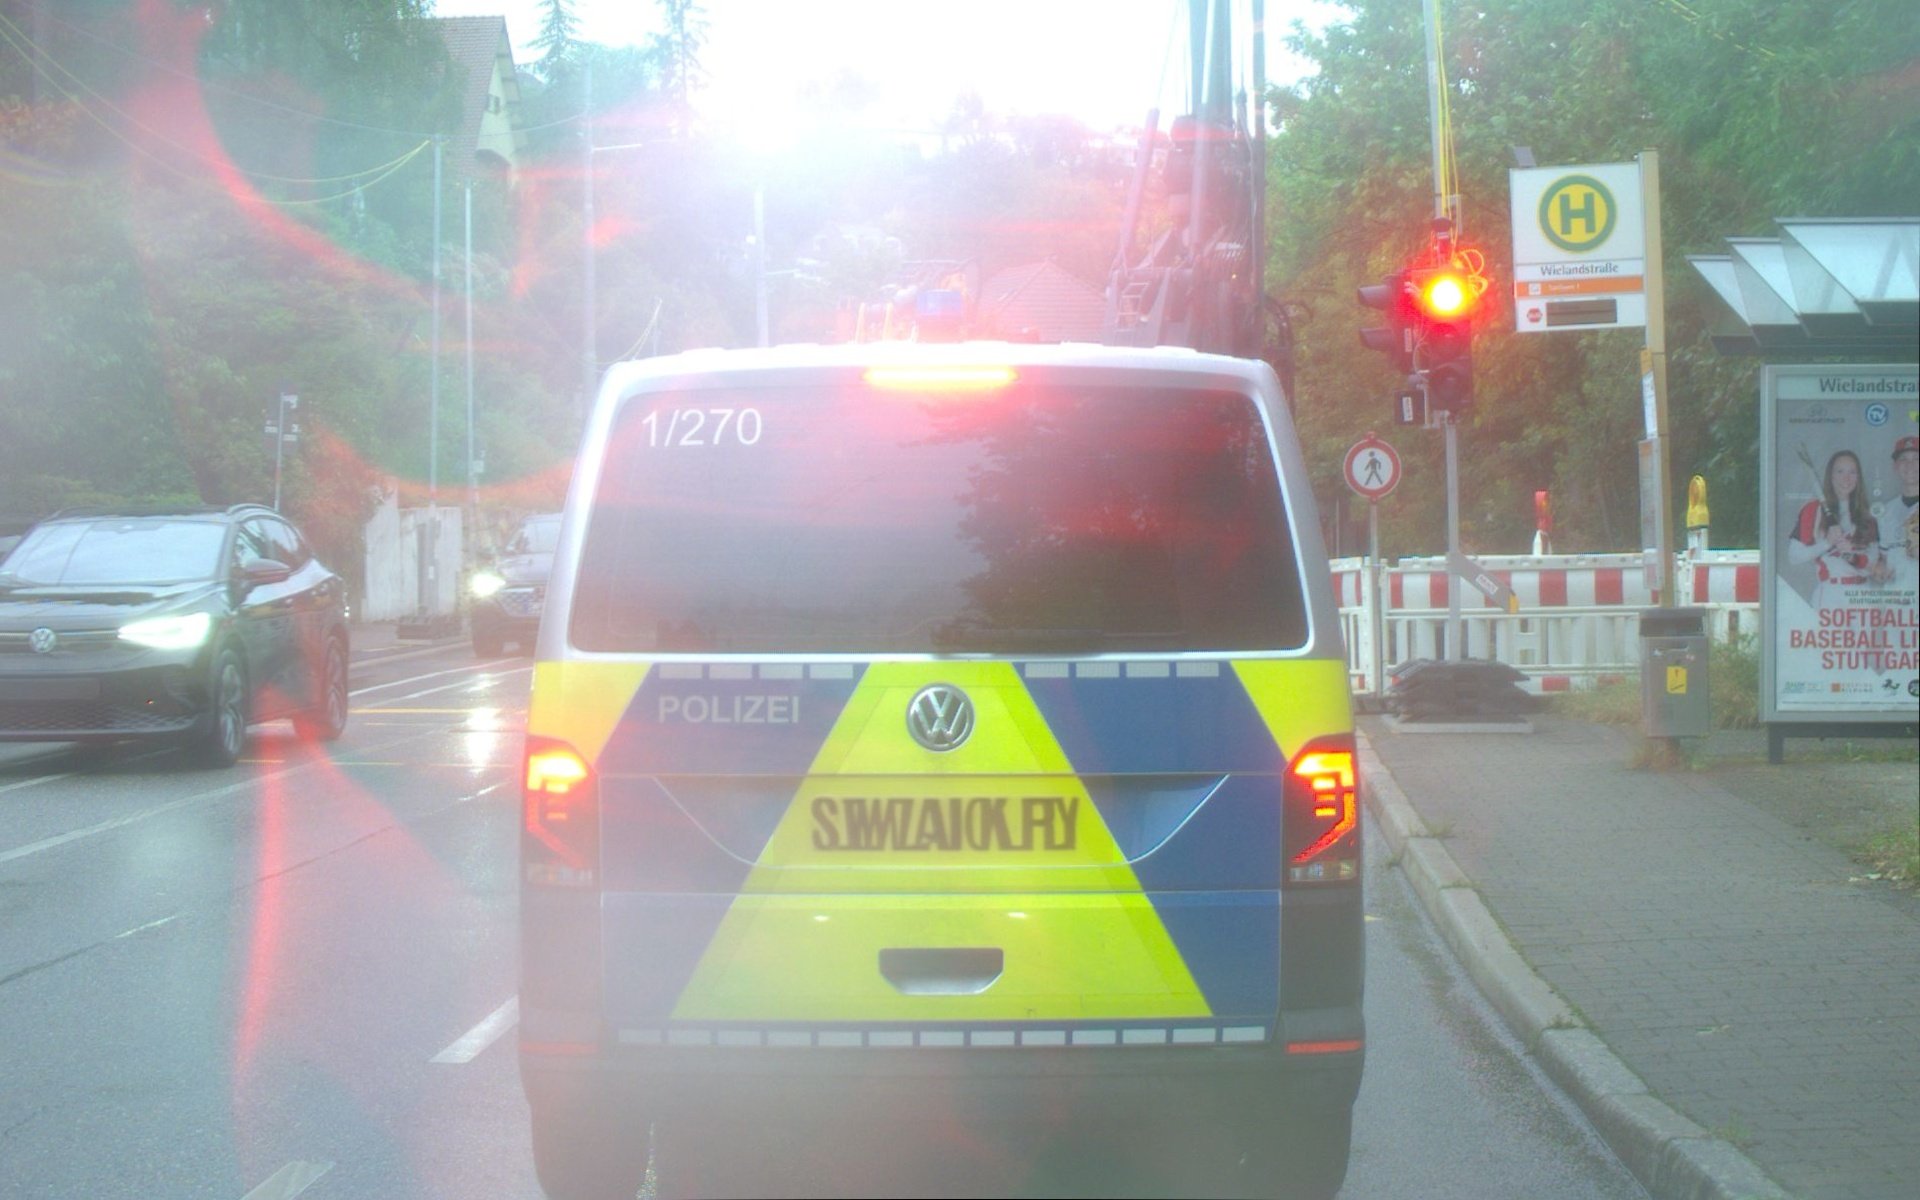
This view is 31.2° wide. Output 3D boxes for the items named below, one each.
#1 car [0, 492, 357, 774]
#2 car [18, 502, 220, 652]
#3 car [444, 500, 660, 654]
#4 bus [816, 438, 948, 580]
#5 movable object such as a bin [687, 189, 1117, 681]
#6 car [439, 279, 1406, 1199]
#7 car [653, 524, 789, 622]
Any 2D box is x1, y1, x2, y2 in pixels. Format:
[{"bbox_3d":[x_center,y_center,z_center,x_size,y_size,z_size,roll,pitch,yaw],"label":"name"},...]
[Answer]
[{"bbox_3d":[-5.225,0.163,21.974,1.867,1.616,4.164,-1,1,2],"label":"car"},{"bbox_3d":[-9.331,-0.282,37.972,1.765,1.481,3.743,1,3,-20],"label":"car"},{"bbox_3d":[-4.683,-0.288,40.099,1.993,1.668,4.688,1,1,-1],"label":"car"},{"bbox_3d":[-2.069,-2.510,96.236,2.841,3.705,12.005,1,1,3],"label":"bus"},{"bbox_3d":[-0.428,-1.461,31.629,2.832,4.163,4.378,1,1,15],"label":"movable object such as a bin"},{"bbox_3d":[-0.100,0.358,8.830,1.893,2.043,4.000,1,1,-1],"label":"car"},{"bbox_3d":[-3.765,-0.460,54.714,1.764,1.458,3.886,1,1,2],"label":"car"}]
